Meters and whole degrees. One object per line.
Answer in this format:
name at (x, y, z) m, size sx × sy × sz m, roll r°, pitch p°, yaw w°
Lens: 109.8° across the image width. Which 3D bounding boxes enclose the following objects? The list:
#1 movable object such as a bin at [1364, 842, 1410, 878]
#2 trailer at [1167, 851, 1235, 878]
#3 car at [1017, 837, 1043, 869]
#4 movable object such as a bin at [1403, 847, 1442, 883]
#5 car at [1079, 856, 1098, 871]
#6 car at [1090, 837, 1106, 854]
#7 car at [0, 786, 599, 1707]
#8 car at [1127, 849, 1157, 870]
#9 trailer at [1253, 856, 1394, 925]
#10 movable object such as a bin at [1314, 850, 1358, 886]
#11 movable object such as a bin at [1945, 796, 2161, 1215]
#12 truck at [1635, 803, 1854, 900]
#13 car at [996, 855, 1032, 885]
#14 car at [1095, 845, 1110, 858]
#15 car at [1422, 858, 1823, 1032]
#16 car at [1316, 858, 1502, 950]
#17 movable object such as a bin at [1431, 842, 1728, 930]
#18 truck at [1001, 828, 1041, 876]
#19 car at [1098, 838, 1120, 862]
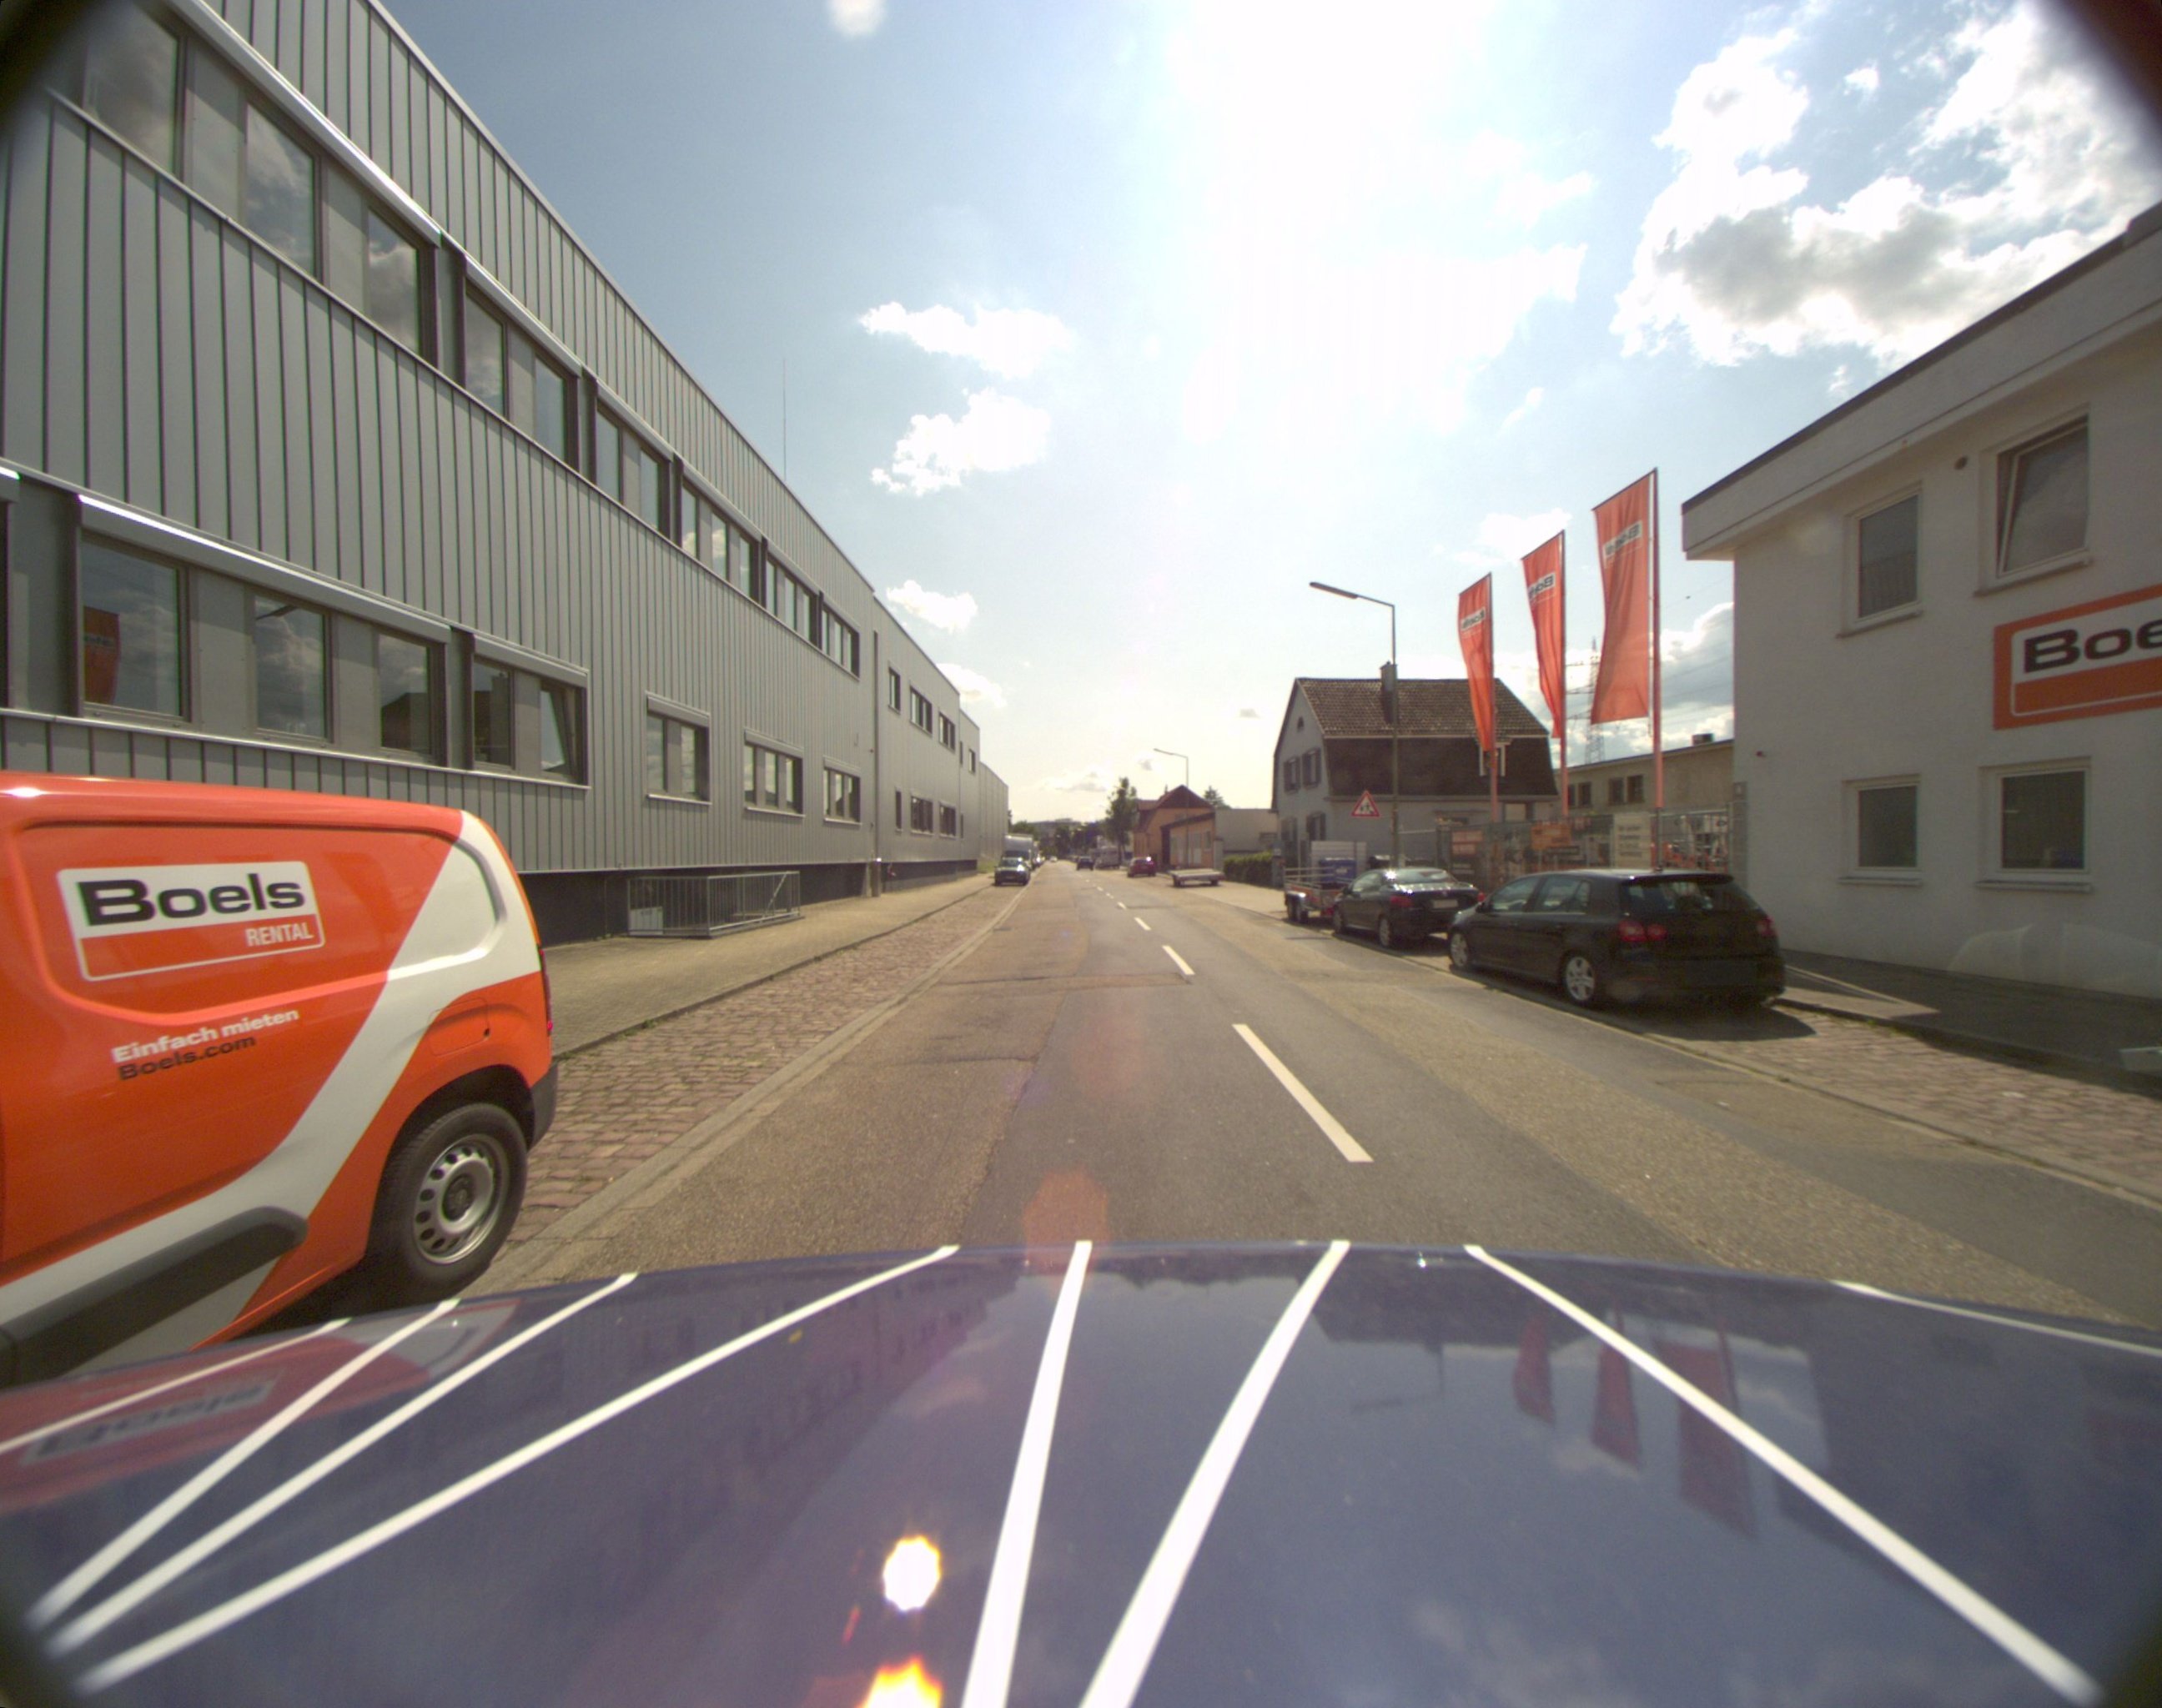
movable object such as a bin at (12.292, 0.232, 30.548) m, size 1.319 × 1.419 × 1.151 m, roll 0°, pitch 1°, yaw -5°
trailer at (5.935, 0.465, 38.439) m, size 2.457 × 1.157 × 6.052 m, roll -2°, pitch 0°, yaw 0°
car at (-5.771, -0.119, 87.253) m, size 2.419 × 3.269 × 6.896 m, roll 5°, pitch 0°, yaw -2°
movable object such as a bin at (13.680, 0.427, 30.439) m, size 1.089 × 1.435 × 1.004 m, roll 0°, pitch 1°, yaw -2°
car at (0.791, 0.999, 78.782) m, size 1.740 × 1.434 × 3.999 m, roll 1°, pitch 0°, yaw -2°
car at (2.617, -1.281, 115.656) m, size 1.999 × 2.556 × 5.823 m, roll -3°, pitch 1°, yaw -2°
car at (-3.083, 0.876, 1.069) m, size 1.877 × 1.881 × 4.451 m, roll -5°, pitch 1°, yaw -1°
car at (4.529, 0.366, 57.119) m, size 1.714 × 1.459 × 4.629 m, roll -3°, pitch 1°, yaw -1°
trailer at (5.806, 0.799, 18.892) m, size 1.772 × 1.368 × 5.050 m, roll -2°, pitch 1°, yaw -1°
movable object such as a bin at (10.197, 0.555, 30.432) m, size 1.319 × 1.419 × 1.188 m, roll 0°, pitch 1°, yaw -5°
movable object such as a bin at (5.729, 0.658, 1.716) m, size 1.618 × 1.907 × 5.138 m, roll -4°, pitch 0°, yaw 0°
truck at (22.587, -0.088, 26.028) m, size 5.575 × 3.125 × 2.496 m, roll 0°, pitch 1°, yaw -5°
car at (-3.783, 0.879, 43.154) m, size 1.715 × 1.502 × 4.114 m, roll -3°, pitch 1°, yaw -2°
car at (2.696, -0.324, 96.088) m, size 1.658 × 1.483 × 3.715 m, roll -3°, pitch 1°, yaw -2°
car at (5.823, 0.834, 8.947) m, size 1.677 × 1.447 × 4.223 m, roll -2°, pitch 1°, yaw 0°
car at (5.851, 0.811, 14.087) m, size 1.677 × 1.368 × 3.883 m, roll -2°, pitch 1°, yaw -1°
movable object such as a bin at (12.990, 0.779, 19.940) m, size 6.882 × 1.993 × 1.904 m, roll -2°, pitch 0°, yaw -7°
truck at (-4.458, -0.138, 56.493) m, size 2.608 × 3.207 × 8.074 m, roll -3°, pitch 1°, yaw -4°
car at (3.239, -0.453, 88.562) m, size 2.079 × 2.527 × 5.823 m, roll -3°, pitch 1°, yaw -2°
